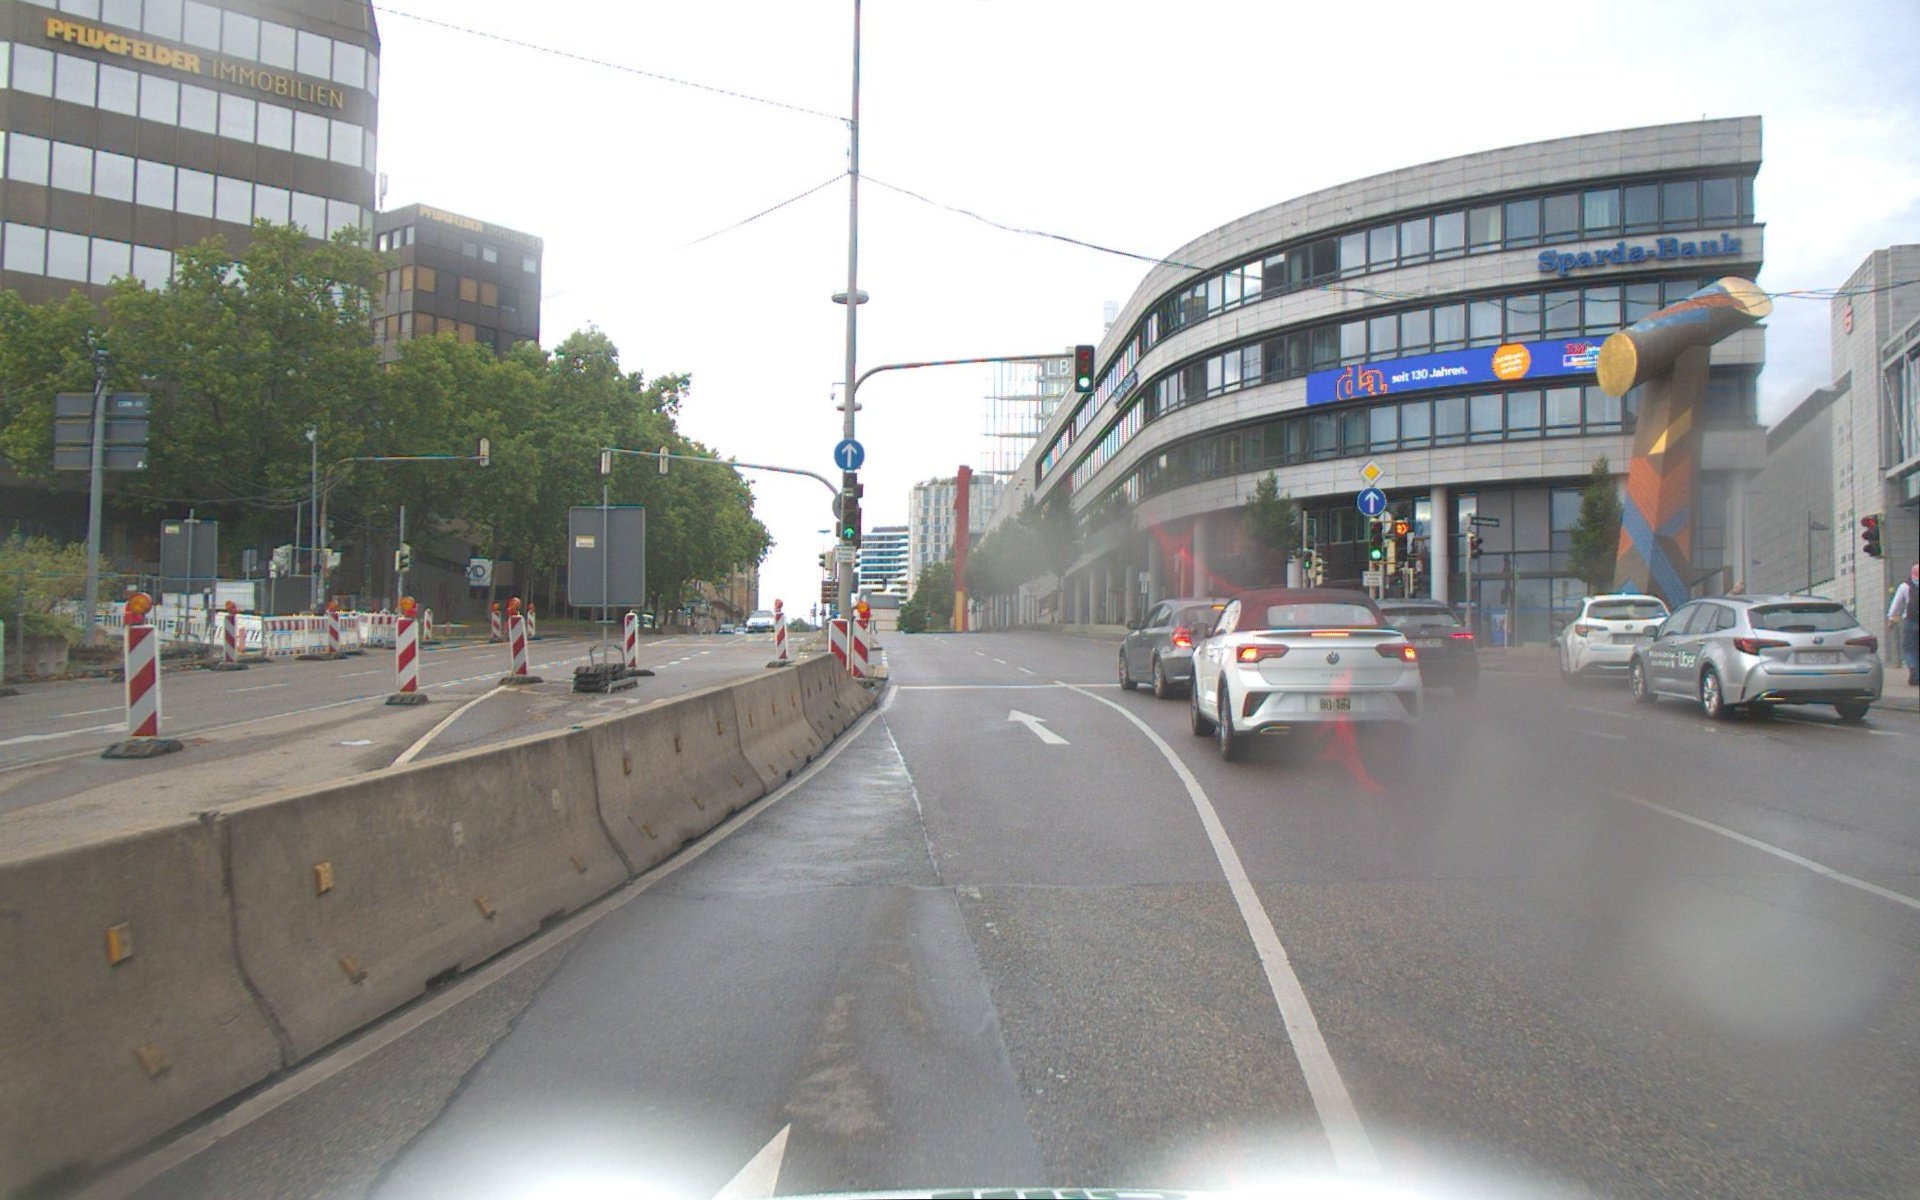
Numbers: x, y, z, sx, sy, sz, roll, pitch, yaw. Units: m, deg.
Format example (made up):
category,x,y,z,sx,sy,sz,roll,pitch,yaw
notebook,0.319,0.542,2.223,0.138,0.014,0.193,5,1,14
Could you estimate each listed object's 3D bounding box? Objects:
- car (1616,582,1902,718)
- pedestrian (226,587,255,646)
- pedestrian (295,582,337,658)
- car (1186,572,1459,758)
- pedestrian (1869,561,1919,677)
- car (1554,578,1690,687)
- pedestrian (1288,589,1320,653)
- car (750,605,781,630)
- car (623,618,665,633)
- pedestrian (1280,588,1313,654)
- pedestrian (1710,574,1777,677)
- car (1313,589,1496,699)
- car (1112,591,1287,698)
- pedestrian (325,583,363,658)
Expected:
category,x,y,z,sx,sy,sz,roll,pitch,yaw
car,9.778,0.602,20.665,1.665,1.476,4.618,1,-1,5
pedestrian,-23.988,0.556,55.158,0.728,1.913,0.744,1,-3,-13
pedestrian,-16.766,0.523,43.054,0.745,1.956,0.742,0,-3,-1
car,3.380,0.559,16.223,1.923,1.576,4.220,0,0,3
pedestrian,14.460,0.300,25.188,0.715,1.741,0.842,1,-3,-4
car,10.959,0.502,27.630,1.734,1.663,4.583,0,0,17
pedestrian,10.457,0.645,50.230,0.823,1.938,0.732,-1,-2,23
car,-12.304,1.078,104.721,1.726,1.486,4.356,-1,0,-4
car,-34.496,2.781,180.859,1.788,1.537,4.562,-3,-3,34
pedestrian,10.036,0.637,49.362,0.823,1.938,0.861,-1,-3,23
pedestrian,16.521,0.531,34.883,0.842,2.135,0.897,3,-1,-26
car,6.475,0.645,24.544,1.718,1.432,4.228,2,-1,3
car,3.509,0.634,24.920,1.706,1.468,3.995,1,-1,-6
pedestrian,-16.048,0.540,43.082,0.658,1.935,0.775,0,-3,-1
